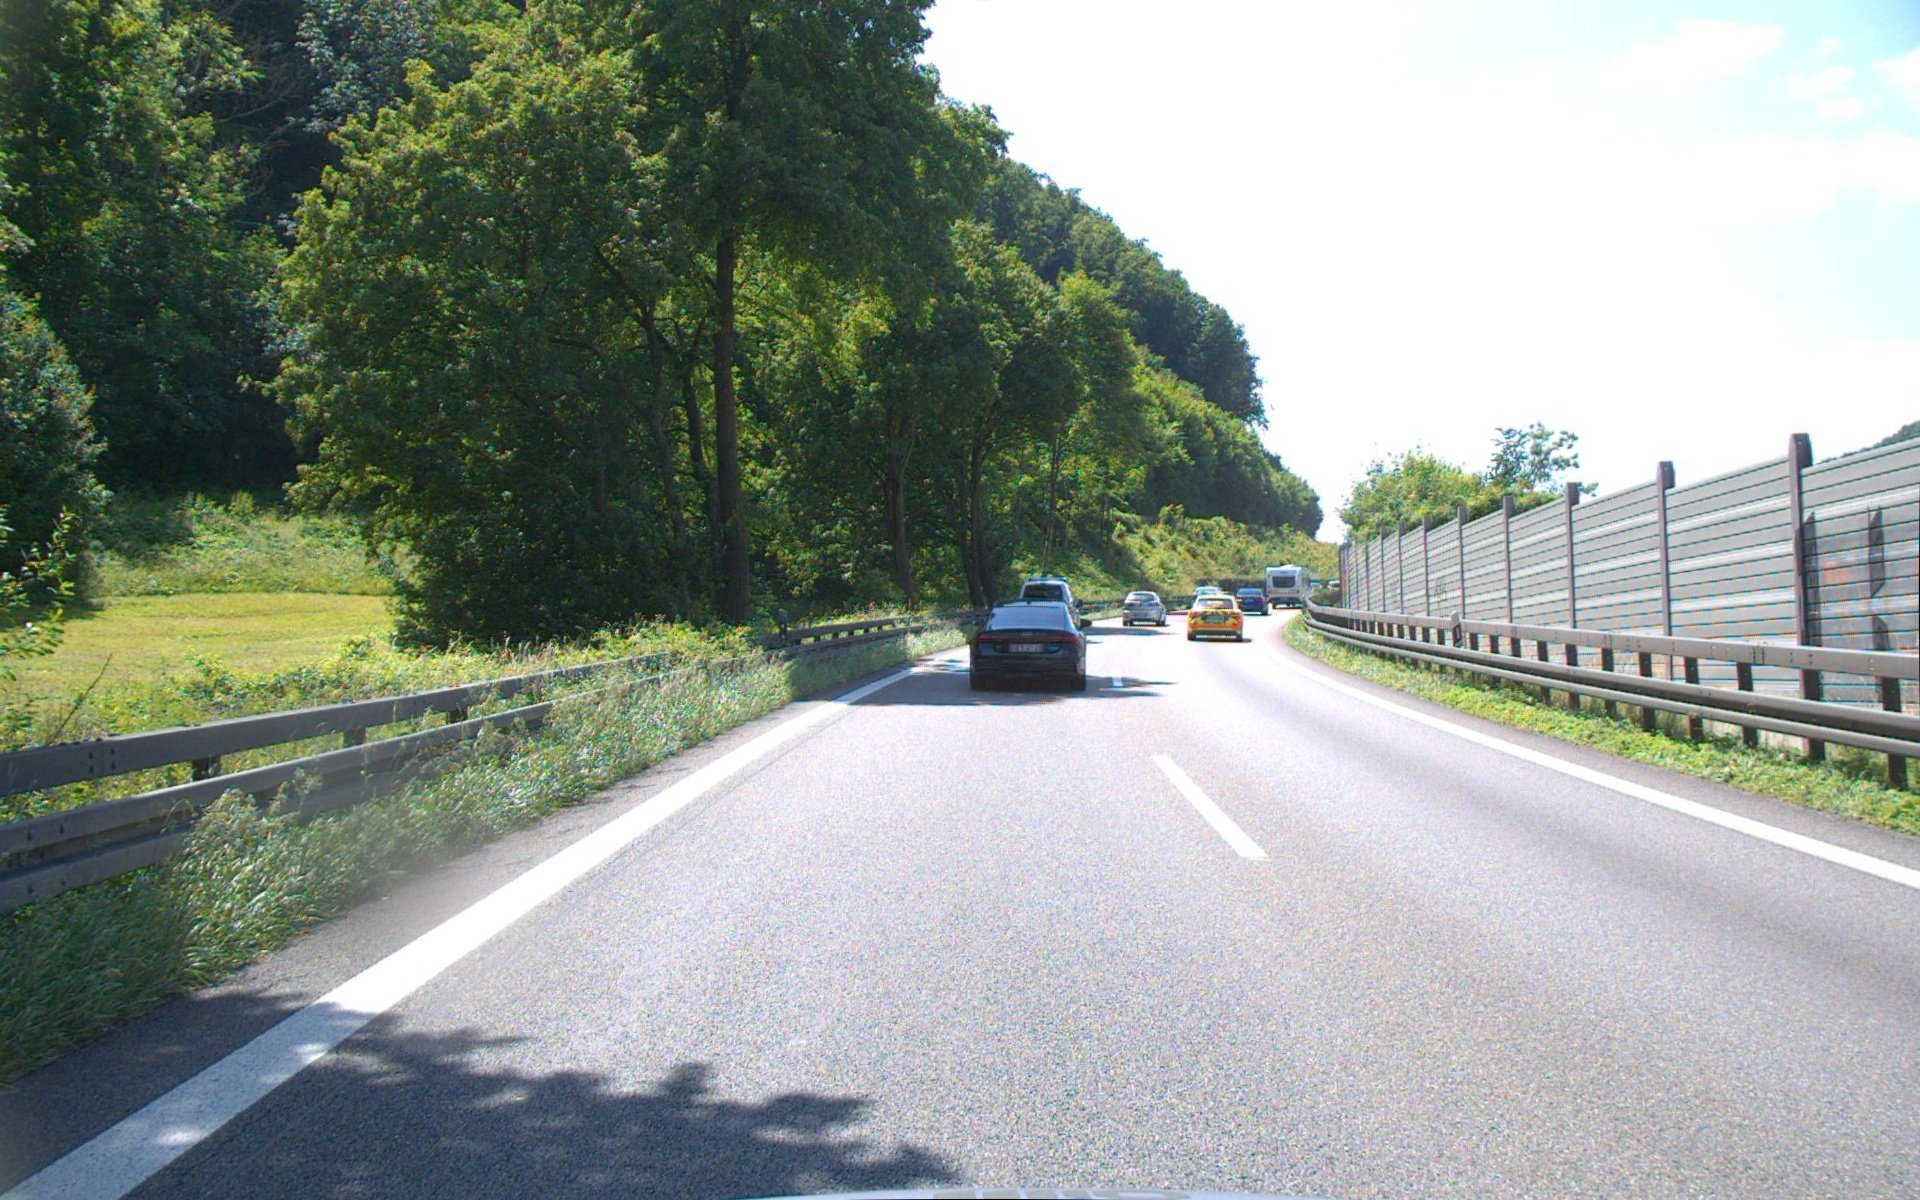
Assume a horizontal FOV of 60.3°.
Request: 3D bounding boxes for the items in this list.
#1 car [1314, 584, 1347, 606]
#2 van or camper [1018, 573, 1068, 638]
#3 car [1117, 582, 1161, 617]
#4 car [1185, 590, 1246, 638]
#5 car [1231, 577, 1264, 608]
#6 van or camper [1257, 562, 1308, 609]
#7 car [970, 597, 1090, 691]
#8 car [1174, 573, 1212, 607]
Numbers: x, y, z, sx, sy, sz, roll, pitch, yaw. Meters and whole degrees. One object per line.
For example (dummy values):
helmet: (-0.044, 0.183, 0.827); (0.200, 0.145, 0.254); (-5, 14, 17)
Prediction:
car: (30.622, -0.455, 136.683); (1.953, 1.747, 3.999); (-1, 0, 24)
van or camper: (2.465, 0.169, 49.646); (1.363, 1.847, 4.000); (0, 0, 1)
car: (7.692, -0.002, 70.820); (1.709, 1.456, 4.003); (0, 0, 8)
car: (8.342, 0.445, 53.835); (1.823, 1.514, 4.003); (0, 0, 11)
car: (16.052, -0.396, 92.324); (1.735, 1.665, 4.003); (0, 0, 10)
van or camper: (21.253, -0.932, 108.867); (2.404, 2.969, 6.127); (-1, 0, 19)
car: (1.186, 0.684, 27.071); (1.799, 1.373, 4.002); (1, -1, 4)
car: (14.437, -0.626, 102.235); (1.951, 2.049, 4.004); (-1, 1, 13)
